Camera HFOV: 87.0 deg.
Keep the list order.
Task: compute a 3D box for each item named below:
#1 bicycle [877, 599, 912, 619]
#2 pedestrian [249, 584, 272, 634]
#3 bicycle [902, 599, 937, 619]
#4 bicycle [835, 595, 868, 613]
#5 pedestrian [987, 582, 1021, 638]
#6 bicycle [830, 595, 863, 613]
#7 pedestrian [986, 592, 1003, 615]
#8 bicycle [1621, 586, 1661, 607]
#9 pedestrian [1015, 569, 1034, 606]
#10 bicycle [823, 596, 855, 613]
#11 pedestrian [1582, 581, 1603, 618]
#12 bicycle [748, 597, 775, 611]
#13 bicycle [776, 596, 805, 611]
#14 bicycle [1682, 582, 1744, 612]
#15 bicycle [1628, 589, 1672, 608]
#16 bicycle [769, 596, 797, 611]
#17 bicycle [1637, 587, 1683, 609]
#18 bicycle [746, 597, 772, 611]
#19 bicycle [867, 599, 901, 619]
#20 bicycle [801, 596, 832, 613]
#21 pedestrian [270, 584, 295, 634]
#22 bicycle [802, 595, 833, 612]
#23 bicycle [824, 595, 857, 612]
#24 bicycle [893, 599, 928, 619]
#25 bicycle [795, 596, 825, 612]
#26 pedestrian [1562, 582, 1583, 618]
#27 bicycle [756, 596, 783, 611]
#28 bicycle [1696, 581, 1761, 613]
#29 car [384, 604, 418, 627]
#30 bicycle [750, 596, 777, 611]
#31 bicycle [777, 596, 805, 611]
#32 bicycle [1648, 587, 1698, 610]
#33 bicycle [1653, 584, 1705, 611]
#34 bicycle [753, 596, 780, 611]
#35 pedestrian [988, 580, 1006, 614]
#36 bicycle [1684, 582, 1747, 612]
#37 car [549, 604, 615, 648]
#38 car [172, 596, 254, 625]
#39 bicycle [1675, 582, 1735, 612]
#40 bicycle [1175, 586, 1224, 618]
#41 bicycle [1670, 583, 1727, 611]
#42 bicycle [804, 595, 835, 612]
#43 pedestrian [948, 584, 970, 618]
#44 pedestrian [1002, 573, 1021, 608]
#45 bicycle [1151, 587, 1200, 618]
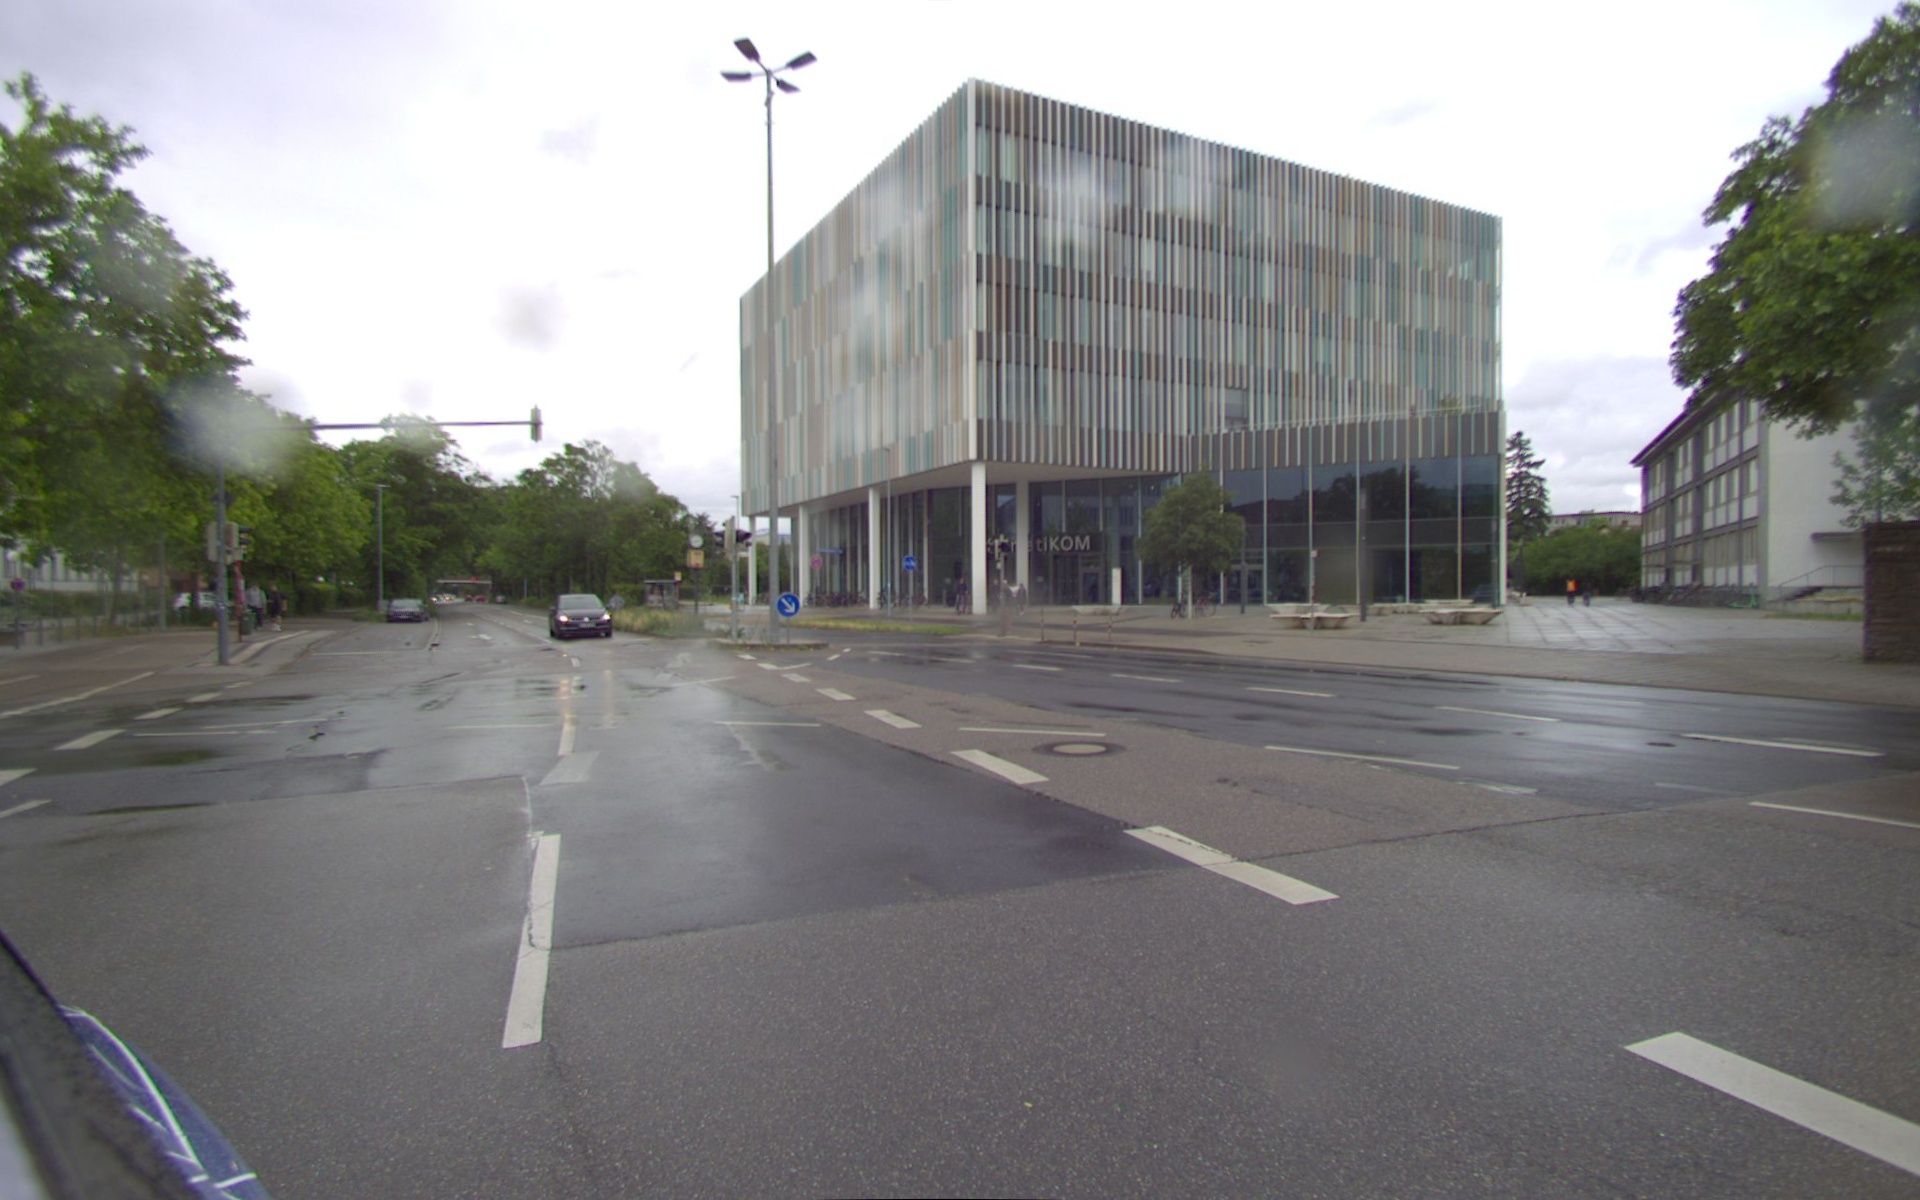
[{"bbox_3d":[-4.192,0.577,64.844,2.249,1.231,0.600,-1,0,-38],"label":"bicycle"},{"bbox_3d":[-26.035,0.340,37.657,0.615,1.838,0.788,-1,0,-39],"label":"pedestrian"},{"bbox_3d":[-2.550,0.563,63.383,2.249,1.231,0.600,-1,0,-38],"label":"bicycle"},{"bbox_3d":[-7.668,0.256,71.366,2.247,1.231,0.600,-1,0,-16],"label":"bicycle"},{"bbox_3d":[1.447,0.320,33.375,0.796,1.838,0.776,-1,0,42],"label":"pedestrian"},{"bbox_3d":[-8.115,0.259,72.362,2.247,1.231,0.600,-1,0,-16],"label":"bicycle"},{"bbox_3d":[1.849,0.185,53.954,0.614,1.161,0.789,-1,0,-23],"label":"pedestrian"},{"bbox_3d":[46.934,-0.242,69.731,2.259,1.412,0.757,-1,0,34],"label":"bicycle"},{"bbox_3d":[3.301,-0.638,51.883,0.624,1.838,0.776,-1,0,41],"label":"pedestrian"},{"bbox_3d":[-8.891,0.332,74.159,2.247,1.231,0.600,-1,0,-16],"label":"bicycle"},{"bbox_3d":[34.872,-0.028,55.761,0.904,2.029,0.834,-1,0,37],"label":"pedestrian"},{"bbox_3d":[-17.538,0.320,89.404,2.247,1.231,0.600,-1,0,-16],"label":"bicycle"},{"bbox_3d":[-13.971,0.296,83.326,2.247,1.231,0.600,-1,0,-16],"label":"bicycle"},{"bbox_3d":[35.234,-0.135,47.375,2.259,1.376,0.757,-1,0,34],"label":"bicycle"},{"bbox_3d":[43.446,-0.073,63.713,2.259,1.176,0.757,-1,0,34],"label":"bicycle"},{"bbox_3d":[-14.861,0.302,85.103,2.247,1.231,0.600,-1,0,-16],"label":"bicycle"},{"bbox_3d":[42.378,-0.129,61.320,2.259,1.321,0.757,-1,0,34],"label":"bicycle"},{"bbox_3d":[-18.231,0.322,91.707,2.247,1.231,0.600,-1,0,-16],"label":"bicycle"},{"bbox_3d":[-4.911,0.583,65.718,2.249,1.231,0.600,-1,0,-38],"label":"bicycle"},{"bbox_3d":[-10.987,0.347,77.374,2.247,1.231,0.600,-1,0,-16],"label":"bicycle"},{"bbox_3d":[-25.555,0.338,38.168,0.787,1.838,0.616,-1,0,43],"label":"pedestrian"},{"bbox_3d":[-10.758,0.277,76.566,2.247,1.231,0.600,-1,0,-16],"label":"bicycle"},{"bbox_3d":[-8.638,0.262,73.263,2.247,1.231,0.600,-1,0,-16],"label":"bicycle"},{"bbox_3d":[-3.112,0.568,63.797,2.249,1.231,0.600,-1,0,-38],"label":"bicycle"},{"bbox_3d":[-11.568,0.300,78.140,2.247,1.231,0.600,-1,0,-16],"label":"bicycle"},{"bbox_3d":[34.152,0.005,56.422,0.904,2.029,0.834,-1,0,37],"label":"pedestrian"},{"bbox_3d":[-16.224,0.313,86.266,2.247,1.231,0.600,-1,0,-16],"label":"bicycle"},{"bbox_3d":[34.410,-0.122,45.349,2.259,1.376,0.757,-1,0,34],"label":"bicycle"},{"bbox_3d":[-33.477,0.892,60.661,1.633,1.276,4.120,-1,0,-27],"label":"car"},{"bbox_3d":[-17.115,0.319,88.059,2.247,1.231,0.600,-1,0,-16],"label":"bicycle"},{"bbox_3d":[-14.025,0.295,84.085,2.247,1.231,0.600,-1,0,-16],"label":"bicycle"},{"bbox_3d":[39.665,-0.071,56.319,2.259,1.285,0.757,-1,0,34],"label":"bicycle"},{"bbox_3d":[38.990,-0.133,54.900,2.259,1.430,0.757,-1,0,34],"label":"bicycle"},{"bbox_3d":[-16.646,0.316,87.047,2.247,1.231,0.600,-1,0,-16],"label":"bicycle"},{"bbox_3d":[2.008,-0.187,55.116,0.624,1.838,0.776,-1,0,41],"label":"pedestrian"},{"bbox_3d":[34.776,-0.128,46.600,2.259,1.376,0.757,-1,0,34],"label":"bicycle"},{"bbox_3d":[-12.896,0.827,34.367,1.633,1.375,4.120,-1,0,-27],"label":"car"},{"bbox_3d":[-50.016,0.696,67.857,4.352,1.887,1.643,-1,0,-33],"label":"car"},{"bbox_3d":[35.711,-0.142,48.520,2.259,1.376,0.757,-1,0,34],"label":"bicycle"},{"bbox_3d":[9.455,0.071,39.861,2.249,1.231,0.600,-1,0,-38],"label":"bicycle"},{"bbox_3d":[36.648,-0.156,50.267,2.259,1.376,0.757,-1,0,34],"label":"bicycle"},{"bbox_3d":[-10.517,0.277,75.762,2.247,1.231,0.600,-1,0,-16],"label":"bicycle"},{"bbox_3d":[-0.040,0.059,55.566,0.918,1.838,0.932,-1,0,23],"label":"pedestrian"},{"bbox_3d":[2.681,-0.485,52.700,0.624,1.838,0.776,-1,0,41],"label":"pedestrian"},{"bbox_3d":[8.663,0.091,40.575,2.249,1.231,0.600,-1,0,-38],"label":"bicycle"}]
